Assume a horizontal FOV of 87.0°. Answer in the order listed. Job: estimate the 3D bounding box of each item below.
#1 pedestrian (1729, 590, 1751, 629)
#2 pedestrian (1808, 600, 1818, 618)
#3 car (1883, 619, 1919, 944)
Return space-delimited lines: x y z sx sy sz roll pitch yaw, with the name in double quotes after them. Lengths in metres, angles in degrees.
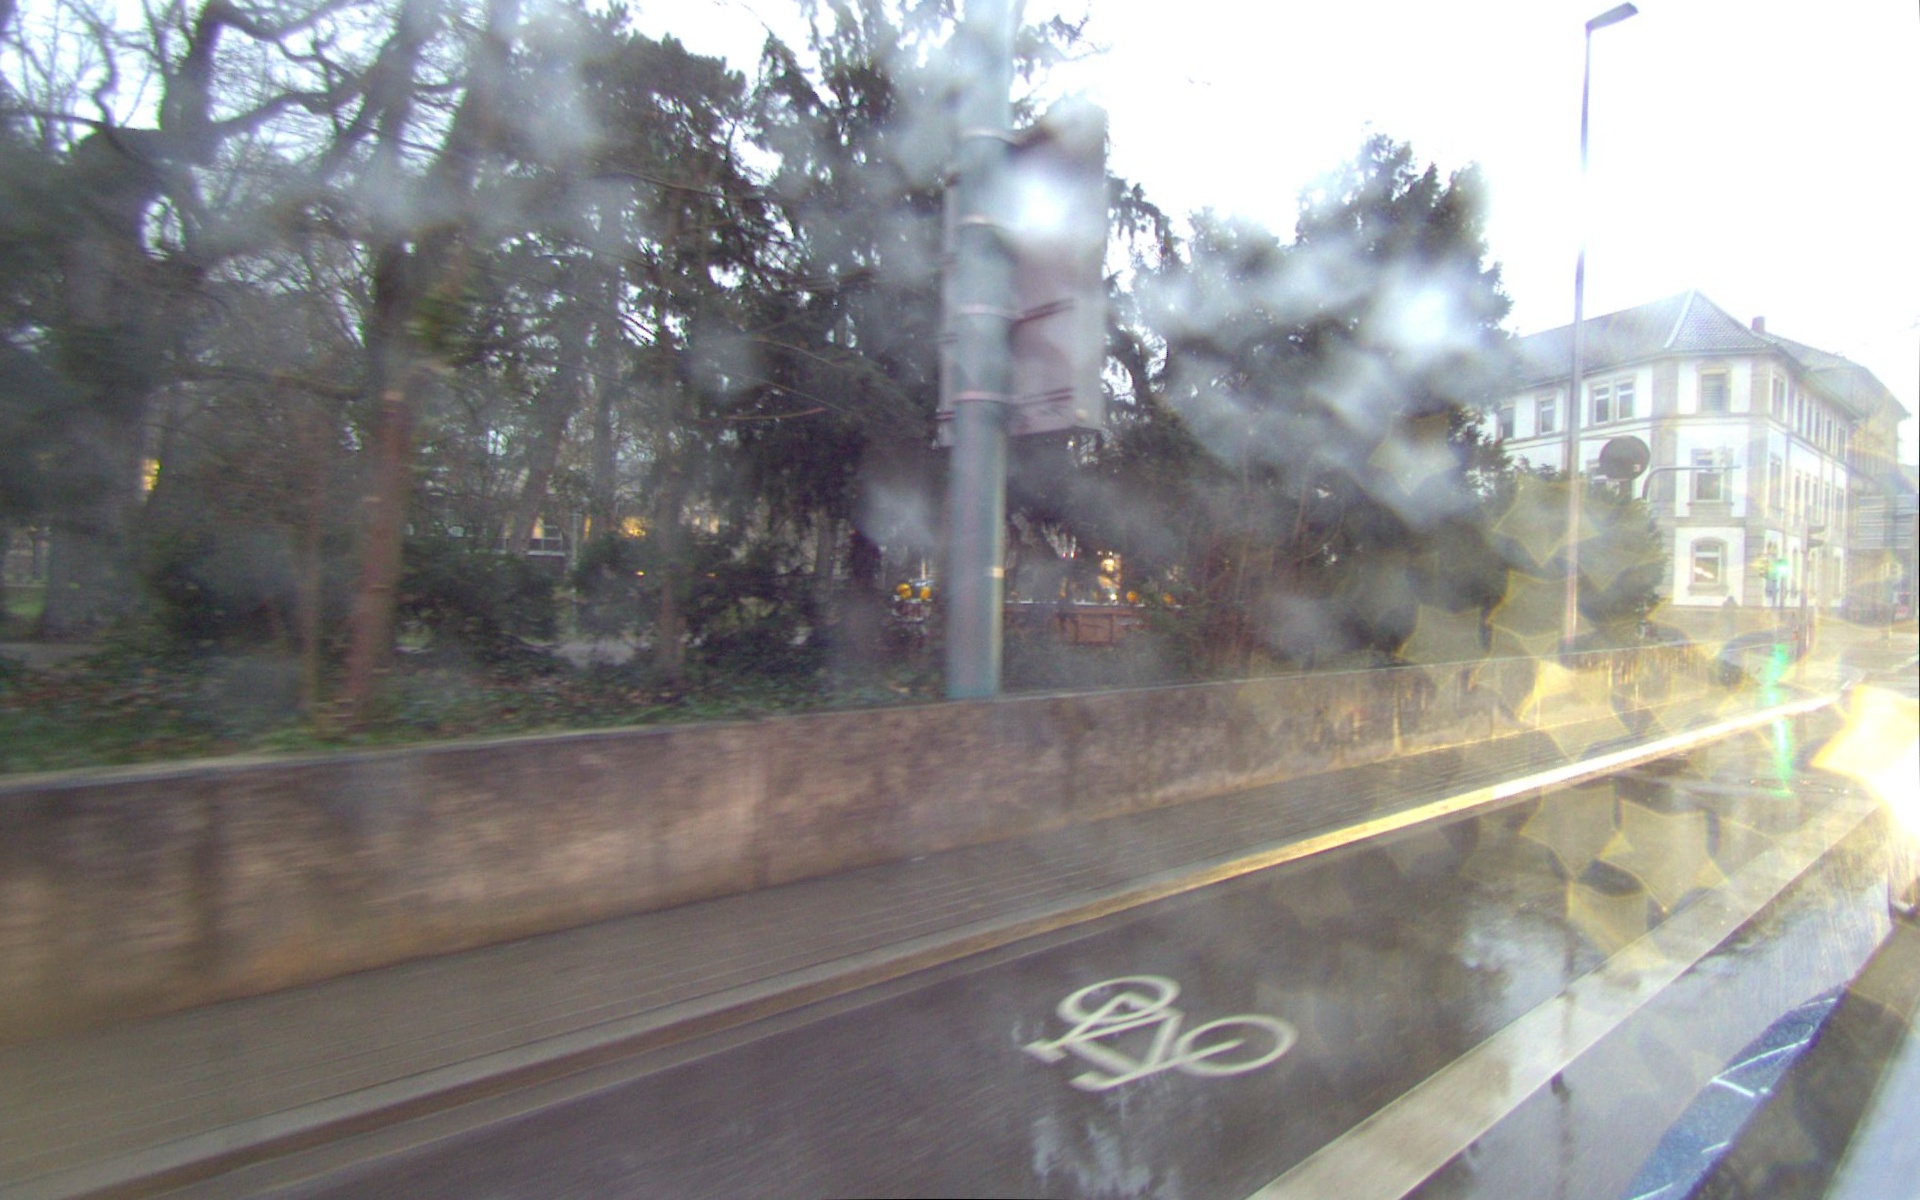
31.131 0.384 40.384 0.515 1.529 0.584 1 1 20 "pedestrian"
43.150 0.447 51.178 0.370 0.917 0.325 0 1 -41 "pedestrian"
6.156 0.792 5.112 3.912 1.388 1.796 0 0 -41 "car"
